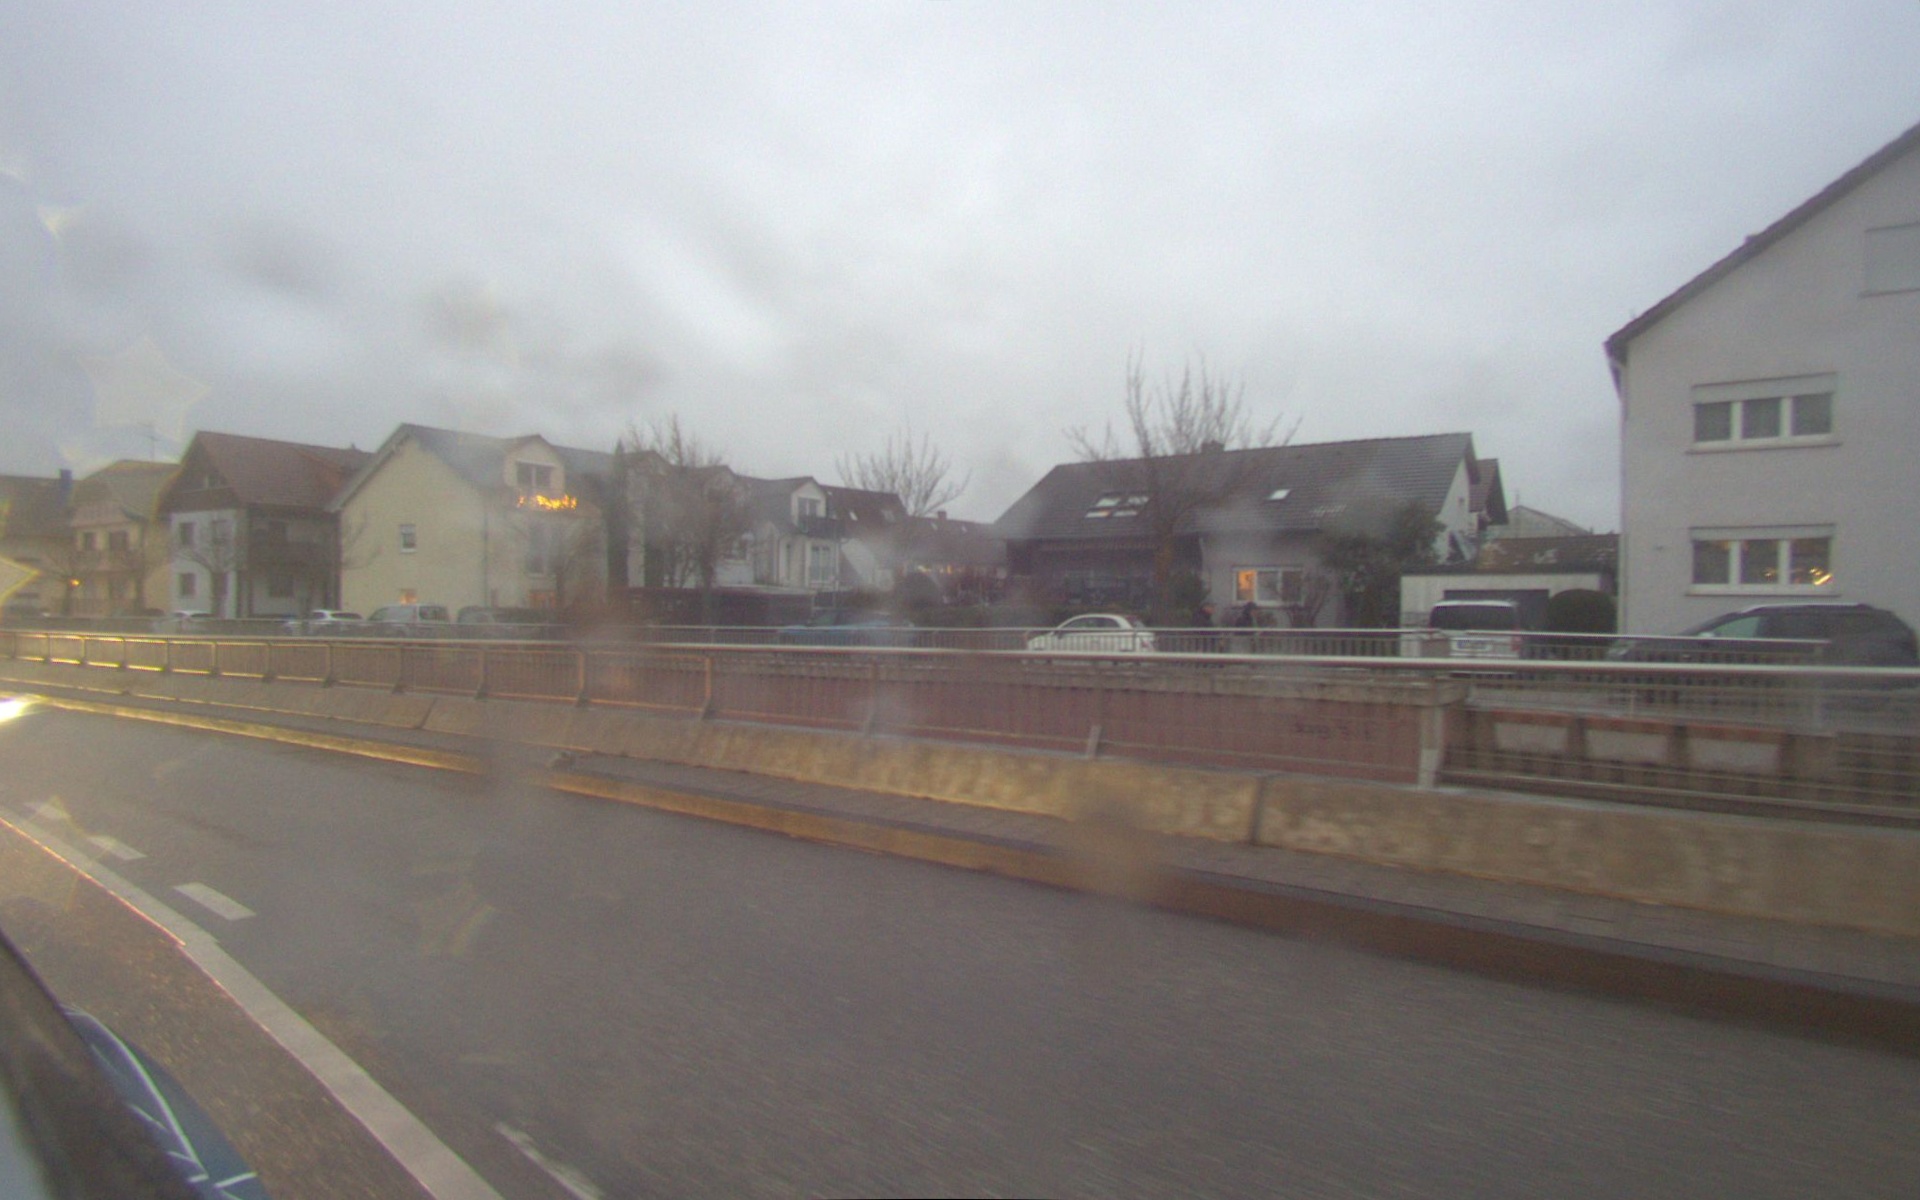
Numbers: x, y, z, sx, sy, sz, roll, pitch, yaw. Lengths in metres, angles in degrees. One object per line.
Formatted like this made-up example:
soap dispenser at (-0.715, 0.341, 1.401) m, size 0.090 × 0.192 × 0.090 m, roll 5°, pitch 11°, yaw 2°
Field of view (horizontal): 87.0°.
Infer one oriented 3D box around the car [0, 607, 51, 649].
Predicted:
car at (-43.322, 1.255, 45.837) m, size 3.837 × 1.817 × 1.791 m, roll 0°, pitch -1°, yaw 24°

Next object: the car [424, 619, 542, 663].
car at (-18.154, 1.562, 38.506) m, size 4.484 × 1.584 × 1.860 m, roll -1°, pitch -3°, yaw 31°

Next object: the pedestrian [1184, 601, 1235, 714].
pedestrian at (3.906, 0.872, 15.828) m, size 0.540 × 1.710 × 0.657 m, roll -1°, pitch 0°, yaw 37°

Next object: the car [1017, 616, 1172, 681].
car at (3.211, 1.124, 24.431) m, size 3.451 × 1.438 × 1.470 m, roll 0°, pitch 0°, yaw 35°

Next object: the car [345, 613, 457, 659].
car at (-22.671, 1.475, 41.009) m, size 4.481 × 1.792 × 1.862 m, roll -1°, pitch -3°, yaw 29°

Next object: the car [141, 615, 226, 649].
car at (-37.835, 1.543, 49.293) m, size 4.012 × 1.535 × 1.758 m, roll 0°, pitch -1°, yaw 27°

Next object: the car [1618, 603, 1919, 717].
car at (13.487, 0.935, 16.815) m, size 4.207 × 1.695 × 1.894 m, roll -1°, pitch -1°, yaw 35°

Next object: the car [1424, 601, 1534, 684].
car at (11.790, 0.943, 22.866) m, size 1.858 × 1.707 × 3.956 m, roll -1°, pitch -2°, yaw 32°

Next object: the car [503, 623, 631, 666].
car at (-13.946, 1.565, 35.856) m, size 4.484 × 1.444 × 1.860 m, roll -1°, pitch -3°, yaw 31°

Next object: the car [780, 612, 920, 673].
car at (-3.154, 1.180, 28.870) m, size 3.806 × 1.592 × 1.553 m, roll 0°, pitch -2°, yaw 31°

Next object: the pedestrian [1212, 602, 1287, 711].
pedestrian at (5.012, 0.944, 17.530) m, size 0.971 × 1.798 × 0.919 m, roll -1°, pitch 0°, yaw 37°

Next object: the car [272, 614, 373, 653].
car at (-27.634, 1.463, 43.872) m, size 4.206 × 1.610 × 1.862 m, roll -1°, pitch -3°, yaw 29°
